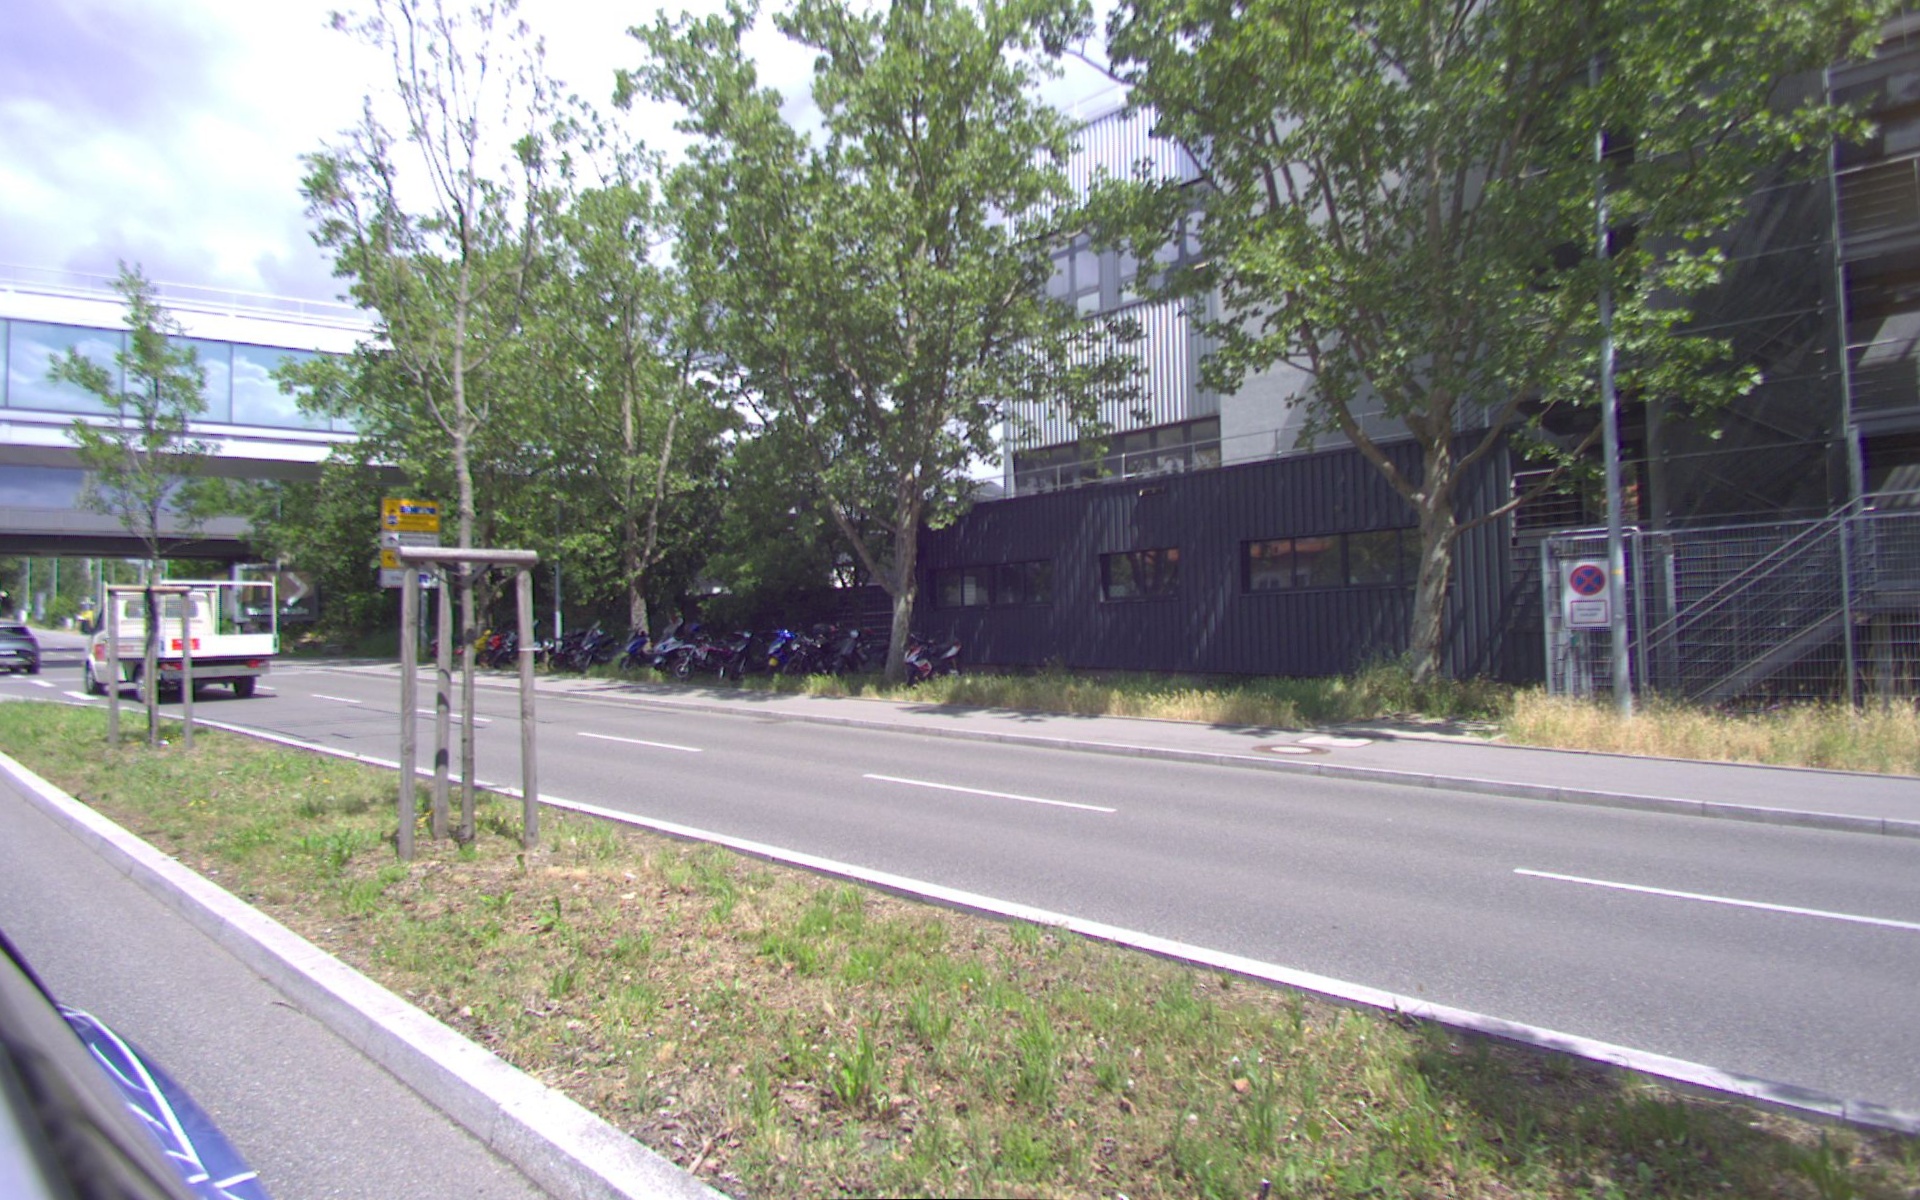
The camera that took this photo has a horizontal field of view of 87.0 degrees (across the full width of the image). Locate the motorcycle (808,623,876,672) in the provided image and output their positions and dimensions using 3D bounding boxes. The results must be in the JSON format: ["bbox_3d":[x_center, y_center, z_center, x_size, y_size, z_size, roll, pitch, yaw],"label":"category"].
[{"bbox_3d":[-3.103,1.249,26.526,0.645,1.219,1.984,-2,-1,-44],"label":"motorcycle"}]

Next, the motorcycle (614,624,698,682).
[{"bbox_3d":[-7.901,1.358,26.287,1.905,1.354,0.867,-2,-1,-28],"label":"motorcycle"}]

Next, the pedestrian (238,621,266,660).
[{"bbox_3d":[-30.477,1.743,43.569,0.813,1.624,0.760,-1,1,40],"label":"pedestrian"}]

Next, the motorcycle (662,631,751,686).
[{"bbox_3d":[-6.050,1.376,24.195,1.854,1.188,0.816,-2,-1,-40],"label":"motorcycle"}]

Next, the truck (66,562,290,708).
[{"bbox_3d":[-17.281,0.745,22.214,6.451,2.772,2.455,-2,-2,39],"label":"truck"}]

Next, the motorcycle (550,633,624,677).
[{"bbox_3d":[-10.637,1.553,28.829,1.904,1.124,0.924,-3,-1,-22],"label":"motorcycle"}]

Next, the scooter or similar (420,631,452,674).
[{"bbox_3d":[-15.898,1.573,30.704,1.479,1.245,0.350,0,0,41],"label":"scooter or similar"}]

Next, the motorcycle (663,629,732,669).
[{"bbox_3d":[-8.121,1.504,31.305,1.904,1.124,0.924,-3,-1,-22],"label":"motorcycle"}]

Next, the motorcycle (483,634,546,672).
[{"bbox_3d":[-13.728,1.629,31.217,0.776,1.041,1.574,-4,-1,42],"label":"motorcycle"}]

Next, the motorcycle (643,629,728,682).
[{"bbox_3d":[-6.864,1.371,25.344,1.853,1.188,0.817,-2,-1,-34],"label":"motorcycle"}]

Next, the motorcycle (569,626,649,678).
[{"bbox_3d":[-9.698,1.414,27.970,1.905,1.300,0.895,-2,-1,-28],"label":"motorcycle"}]

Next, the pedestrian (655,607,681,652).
[{"bbox_3d":[-11.345,1.147,39.304,0.871,1.714,0.986,0,-1,-9],"label":"pedestrian"}]

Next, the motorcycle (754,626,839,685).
[{"bbox_3d":[-3.747,1.258,23.284,0.655,1.219,1.856,-4,-1,45],"label":"motorcycle"}]

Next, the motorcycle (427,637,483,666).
[{"bbox_3d":[-17.824,1.808,35.708,1.718,0.875,0.778,-2,-1,-29],"label":"motorcycle"}]

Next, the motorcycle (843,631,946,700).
[{"bbox_3d":[-1.261,1.243,19.637,1.854,1.182,0.746,-2,-1,-40],"label":"motorcycle"}]

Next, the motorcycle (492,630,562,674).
[{"bbox_3d":[-12.969,1.555,30.367,0.849,1.188,1.734,-3,-1,30],"label":"motorcycle"}]

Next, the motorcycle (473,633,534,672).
[{"bbox_3d":[-14.572,1.664,32.336,0.776,1.131,1.574,-4,-1,42],"label":"motorcycle"}]

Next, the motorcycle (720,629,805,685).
[{"bbox_3d":[-4.632,1.317,23.833,0.698,1.188,1.856,-4,-1,45],"label":"motorcycle"}]

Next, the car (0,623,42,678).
[{"bbox_3d":[-30.398,1.559,31.568,4.286,1.643,1.887,-1,-1,37],"label":"car"}]

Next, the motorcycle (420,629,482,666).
[{"bbox_3d":[-17.378,1.612,34.544,1.720,1.180,0.777,-2,-1,-41],"label":"motorcycle"}]

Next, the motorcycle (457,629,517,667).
[{"bbox_3d":[-15.482,1.556,33.131,0.773,1.131,1.579,-3,-1,32],"label":"motorcycle"}]

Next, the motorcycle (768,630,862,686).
[{"bbox_3d":[-3.184,1.259,22.296,1.852,1.093,0.796,-2,-1,-34],"label":"motorcycle"}]

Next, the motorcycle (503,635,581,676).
[{"bbox_3d":[-12.154,1.626,29.468,0.918,1.124,1.918,0,-3,30],"label":"motorcycle"}]

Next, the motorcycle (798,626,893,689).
[{"bbox_3d":[-2.394,1.184,21.302,1.855,1.195,0.731,-2,0,-41],"label":"motorcycle"}]
